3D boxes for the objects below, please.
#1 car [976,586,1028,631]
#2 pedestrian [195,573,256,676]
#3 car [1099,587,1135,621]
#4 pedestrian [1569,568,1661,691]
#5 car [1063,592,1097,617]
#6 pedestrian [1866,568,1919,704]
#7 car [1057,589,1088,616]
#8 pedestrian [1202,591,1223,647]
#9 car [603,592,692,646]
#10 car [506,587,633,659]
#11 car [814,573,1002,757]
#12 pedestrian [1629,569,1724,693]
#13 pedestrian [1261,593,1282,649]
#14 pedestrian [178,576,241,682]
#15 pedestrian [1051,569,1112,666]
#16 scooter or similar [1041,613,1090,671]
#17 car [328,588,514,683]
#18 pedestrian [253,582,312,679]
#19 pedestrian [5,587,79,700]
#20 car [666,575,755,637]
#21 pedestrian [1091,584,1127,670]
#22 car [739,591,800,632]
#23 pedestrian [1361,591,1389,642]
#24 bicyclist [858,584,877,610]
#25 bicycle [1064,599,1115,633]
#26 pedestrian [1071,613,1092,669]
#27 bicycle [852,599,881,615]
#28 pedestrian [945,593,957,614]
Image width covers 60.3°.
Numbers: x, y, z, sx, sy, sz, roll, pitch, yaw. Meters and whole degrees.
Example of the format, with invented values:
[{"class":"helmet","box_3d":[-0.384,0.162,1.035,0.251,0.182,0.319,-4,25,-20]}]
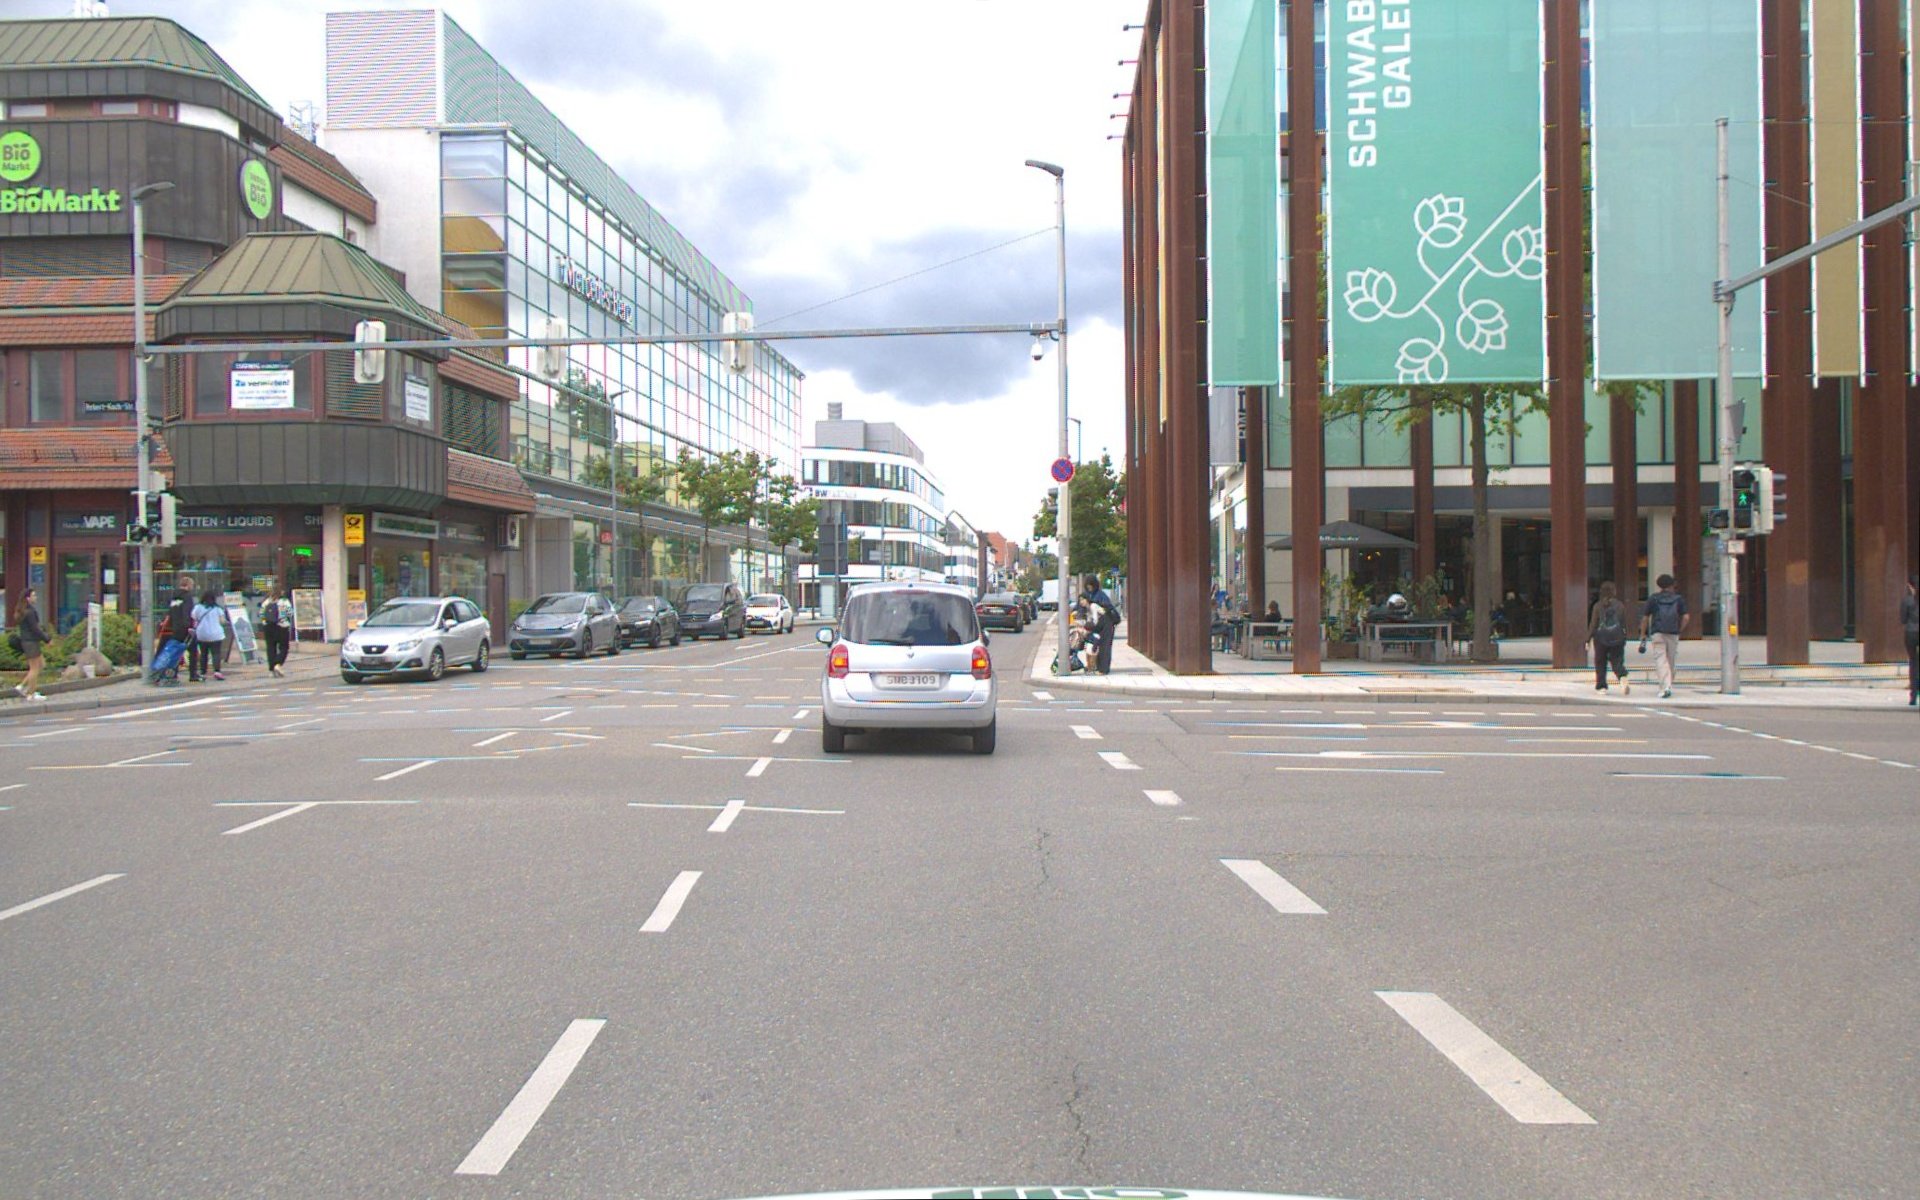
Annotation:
[{"class":"car","box_3d":[1.599,0.307,61.910,1.634,1.581,3.644,2,0,6]},{"class":"pedestrian","box_3d":[-13.302,0.428,29.976,0.794,1.839,0.774,0,0,-5]},{"class":"car","box_3d":[8.270,0.206,87.596,1.703,1.730,4.383,2,0,3]},{"class":"pedestrian","box_3d":[9.319,0.410,23.562,0.860,1.711,1.120,0,0,1]},{"class":"car","box_3d":[6.871,0.240,94.786,1.838,1.358,4.002,2,0,4]},{"class":"pedestrian","box_3d":[13.023,0.474,22.436,0.860,1.798,1.120,0,0,1]},{"class":"car","box_3d":[6.882,0.130,101.258,1.838,1.535,4.002,2,0,4]},{"class":"pedestrian","box_3d":[5.641,0.423,36.977,0.438,1.241,0.607,0,0,6]},{"class":"car","box_3d":[-8.789,0.499,46.761,1.666,1.468,4.001,0,0,1]},{"class":"car","box_3d":[-9.277,0.512,39.646,1.722,1.543,4.389,-2,1,3]},{"class":"car","box_3d":[-0.417,0.563,16.509,1.635,1.581,3.643,2,0,1]},{"class":"pedestrian","box_3d":[10.191,0.430,23.558,0.860,1.711,1.120,0,0,1]},{"class":"pedestrian","box_3d":[6.932,0.456,36.827,0.438,1.241,0.607,0,0,7]},{"class":"pedestrian","box_3d":[-13.216,0.501,29.153,0.794,1.839,0.745,0,0,-5]},{"class":"pedestrian","box_3d":[2.141,0.296,29.169,0.856,1.675,0.677,0,0,38]},{"class":"scooter or similar","box_3d":[1.822,0.716,28.598,0.622,0.978,0.618,0,0,37]},{"class":"car","box_3d":[-9.802,0.598,30.441,1.600,1.442,4.203,-2,2,6]},{"class":"pedestrian","box_3d":[-12.231,0.543,29.887,0.733,1.722,0.777,0,0,-1]},{"class":"pedestrian","box_3d":[-14.472,0.667,26.102,0.686,1.743,0.813,0,1,0]},{"class":"car","box_3d":[-8.329,0.176,55.675,1.826,1.943,5.116,-1,0,4]},{"class":"pedestrian","box_3d":[2.533,0.449,28.114,0.588,1.445,0.583,0,0,6]},{"class":"car","box_3d":[-7.307,0.419,63.713,1.625,1.491,4.002,-1,0,4]},{"class":"pedestrian","box_3d":[10.260,0.395,40.887,0.504,1.229,0.796,0,1,1]},{"class":"bicyclist","box_3d":[-6.160,-0.228,110.366,0.992,1.689,0.926,2,0,-23]},{"class":"bicycle","box_3d":[3.963,0.496,50.573,1.527,1.010,0.753,0,0,7]},{"class":"pedestrian","box_3d":[2.072,0.699,28.183,0.354,0.940,0.455,0,0,6]},{"class":"bicycle","box_3d":[-6.268,0.477,110.569,0.992,1.036,3.108,2,0,-23]},{"class":"pedestrian","box_3d":[-0.778,0.315,148.272,0.940,1.865,1.251,-1,0,4]}]
